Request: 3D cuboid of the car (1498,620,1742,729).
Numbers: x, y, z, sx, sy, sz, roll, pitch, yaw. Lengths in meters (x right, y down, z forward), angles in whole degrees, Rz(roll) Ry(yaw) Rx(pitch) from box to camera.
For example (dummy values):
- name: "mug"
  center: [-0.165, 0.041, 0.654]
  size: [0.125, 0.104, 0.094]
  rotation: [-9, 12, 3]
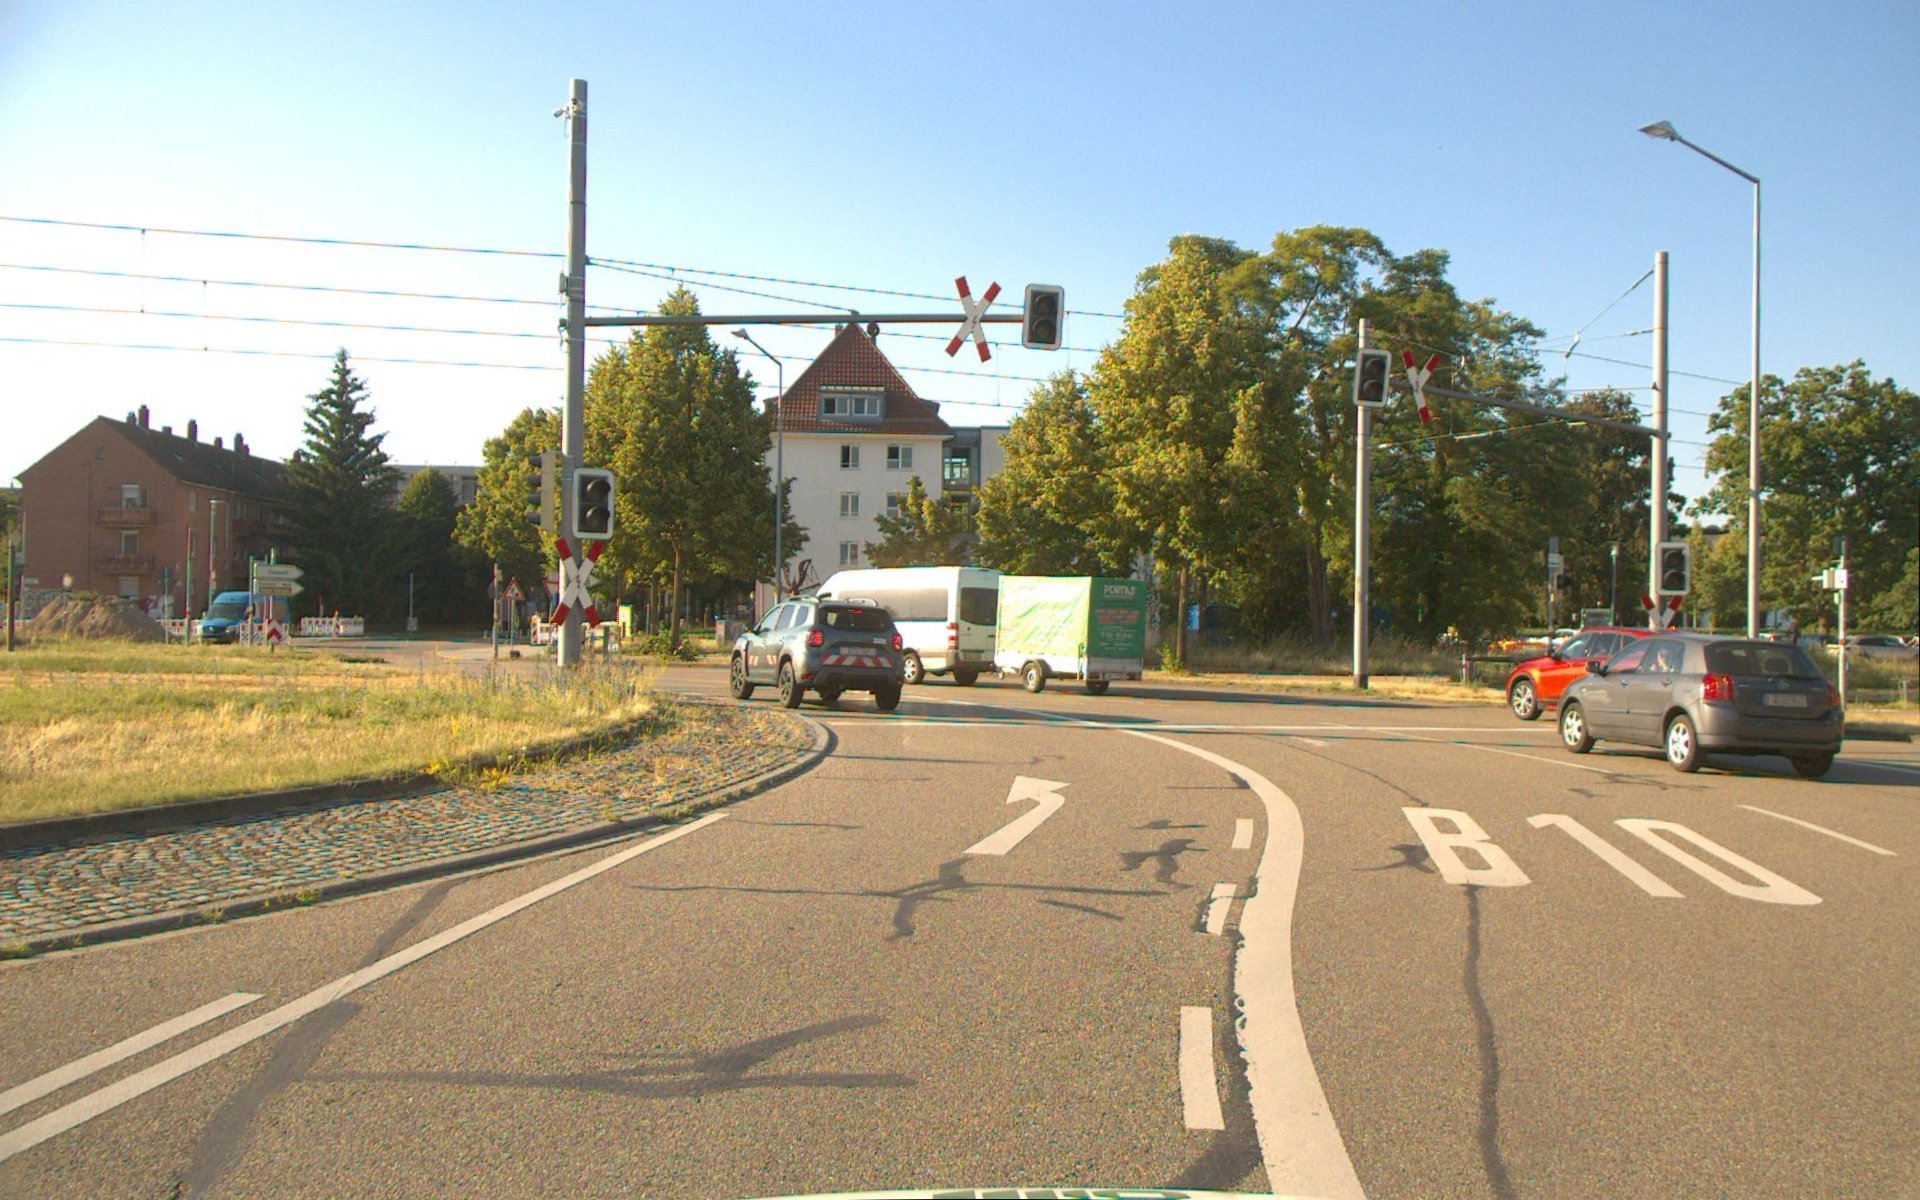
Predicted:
- name: "car"
  center: [10.974, 1.188, 27.767]
  size: [1.722, 1.649, 3.796]
  rotation: [1, 0, -20]

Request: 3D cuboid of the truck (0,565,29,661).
- name: "truck"
  center: [-29.154, 0.309, 44.969]
  size: [6.116, 2.603, 2.583]
  rotation: [1, 0, -9]

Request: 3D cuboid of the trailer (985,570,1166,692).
- name: "trailer"
  center: [2.414, 0.654, 35.216]
  size: [2.074, 2.443, 3.456]
  rotation: [3, -2, -36]

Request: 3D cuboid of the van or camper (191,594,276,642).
- name: "van or camper"
  center: [-33.886, 0.826, 77.305]
  size: [2.051, 2.192, 4.422]
  rotation: [1, 0, -1]

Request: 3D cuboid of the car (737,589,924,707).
- name: "car"
  center: [-2.116, 0.712, 25.961]
  size: [1.878, 1.689, 3.974]
  rotation: [1, -1, -21]

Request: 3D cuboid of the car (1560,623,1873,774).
- name: "car"
  center: [8.538, 1.051, 19.051]
  size: [1.712, 1.499, 3.817]
  rotation: [1, 0, -3]

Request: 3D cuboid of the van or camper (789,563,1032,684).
- name: "van or camper"
  center: [-1.314, 0.530, 39.729]
  size: [2.270, 2.675, 6.487]
  rotation: [3, -1, -40]
